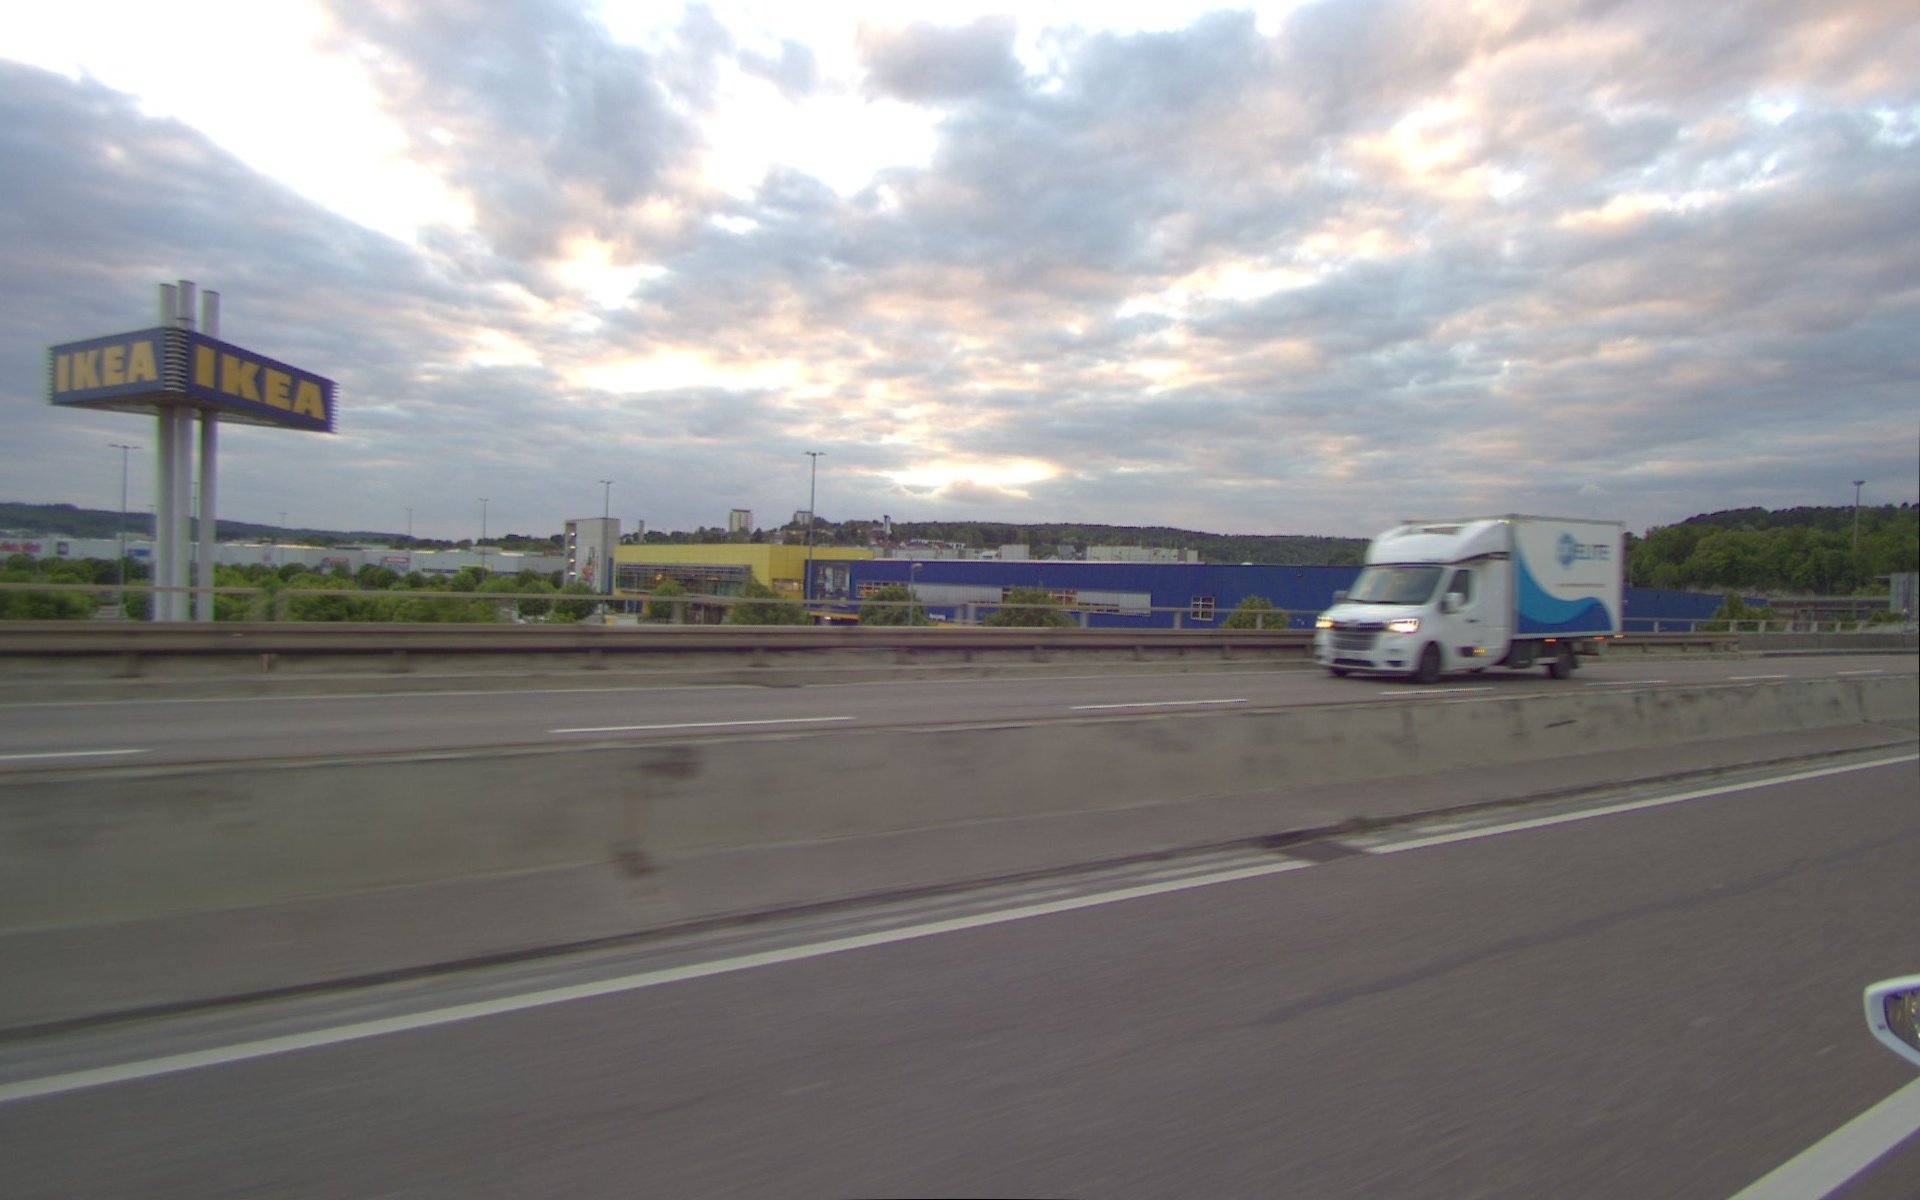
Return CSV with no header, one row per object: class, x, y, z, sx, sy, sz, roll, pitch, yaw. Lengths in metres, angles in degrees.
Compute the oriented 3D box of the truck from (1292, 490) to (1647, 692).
truck,10.056,-0.074,19.558,7.359,3.341,2.522,2,0,-30
